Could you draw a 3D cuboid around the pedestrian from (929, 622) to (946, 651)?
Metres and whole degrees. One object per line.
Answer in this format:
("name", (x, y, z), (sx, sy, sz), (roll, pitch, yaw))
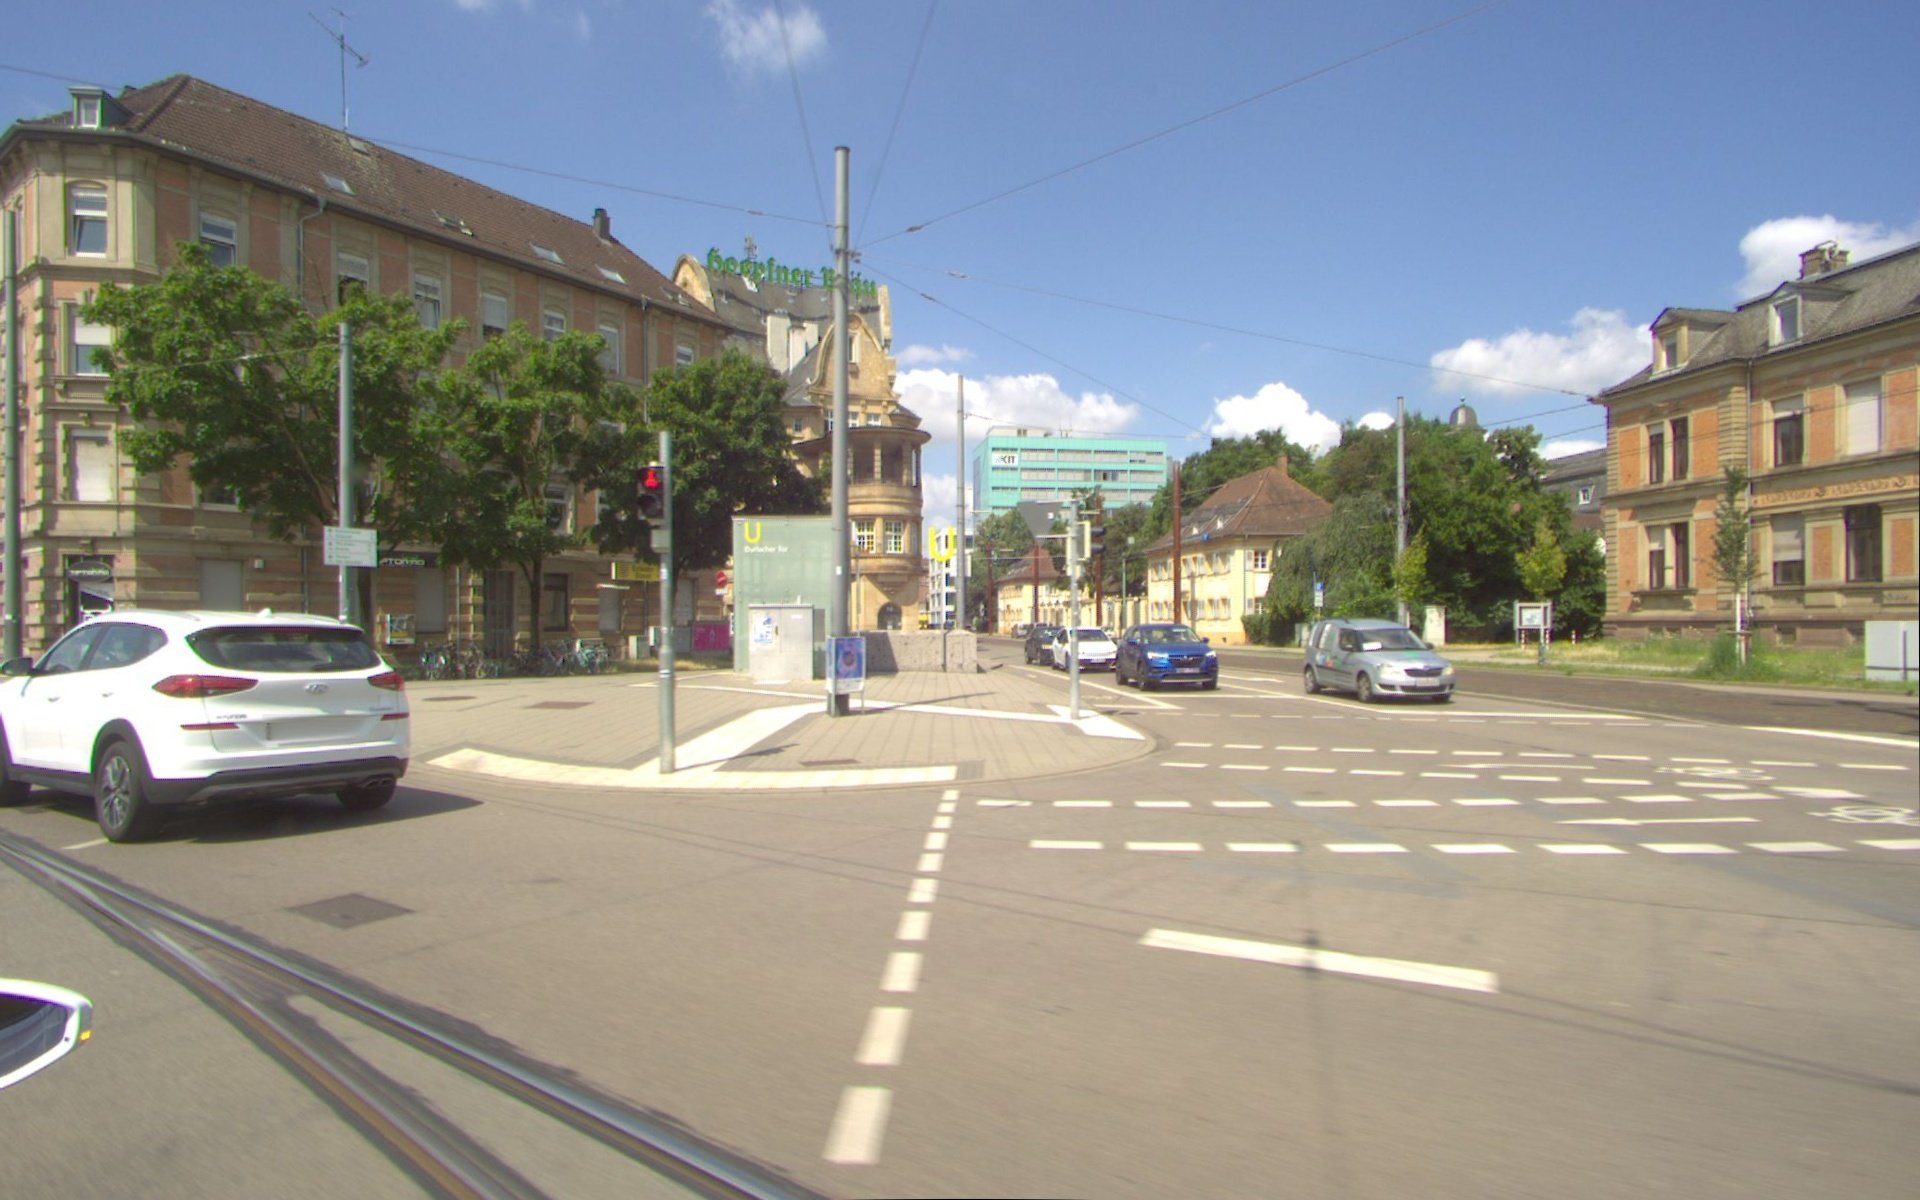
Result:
("pedestrian", (-1.242, 2.042, 55.724), (0.880, 1.579, 0.864), (0, 0, 6))

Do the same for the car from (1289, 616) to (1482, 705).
("car", (8.438, 1.125, 20.337), (1.838, 1.608, 4.427), (0, -1, -3))

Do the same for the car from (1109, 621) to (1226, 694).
("car", (5.117, 1.365, 25.249), (1.838, 1.571, 4.427), (-2, -1, -2))

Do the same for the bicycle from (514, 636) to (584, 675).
("bicycle", (-12.376, 1.651, 30.117), (2.541, 1.068, 0.788), (-1, 1, 38))

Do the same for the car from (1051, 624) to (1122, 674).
("car", (4.317, 1.650, 34.747), (1.901, 1.586, 3.996), (0, -1, -1))

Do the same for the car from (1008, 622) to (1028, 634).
("car", (6.786, 3.276, 117.462), (1.649, 1.405, 3.632), (0, -1, -7))

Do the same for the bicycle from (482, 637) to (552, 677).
("bicycle", (-13.100, 1.662, 29.571), (2.541, 1.084, 0.788), (-1, 1, 38))

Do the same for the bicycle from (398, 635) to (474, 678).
("bicycle", (-14.494, 1.539, 27.664), (2.235, 1.096, 1.020), (-1, 0, 38))

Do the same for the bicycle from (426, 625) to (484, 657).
("bicycle", (-17.325, 1.401, 34.361), (0.756, 1.064, 1.638), (0, 0, 43))

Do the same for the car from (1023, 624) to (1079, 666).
("car", (3.724, 1.829, 41.593), (1.838, 1.608, 4.427), (0, -1, -1))

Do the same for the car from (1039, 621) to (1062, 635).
("car", (9.358, 2.859, 104.130), (1.649, 1.405, 3.795), (0, -1, -7))

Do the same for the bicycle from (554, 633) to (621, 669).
("bicycle", (-11.891, 1.620, 31.946), (2.541, 1.068, 0.788), (-1, 1, 38))

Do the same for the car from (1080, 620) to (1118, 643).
("car", (11.859, 2.677, 85.461), (1.963, 1.795, 3.996), (0, 0, -12))

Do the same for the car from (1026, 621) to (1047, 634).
("car", (8.310, 2.957, 108.977), (1.649, 1.405, 3.795), (0, -1, -7))

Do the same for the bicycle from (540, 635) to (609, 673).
("bicycle", (-11.920, 1.641, 30.886), (2.541, 1.105, 0.788), (-1, 1, 38))

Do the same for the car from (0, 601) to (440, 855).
("car", (-6.478, 0.905, 8.421), (4.119, 1.654, 1.850), (-1, -3, 31))

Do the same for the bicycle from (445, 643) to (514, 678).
("bicycle", (-13.631, 1.687, 28.373), (2.259, 0.891, 0.838), (-1, 0, 38))
